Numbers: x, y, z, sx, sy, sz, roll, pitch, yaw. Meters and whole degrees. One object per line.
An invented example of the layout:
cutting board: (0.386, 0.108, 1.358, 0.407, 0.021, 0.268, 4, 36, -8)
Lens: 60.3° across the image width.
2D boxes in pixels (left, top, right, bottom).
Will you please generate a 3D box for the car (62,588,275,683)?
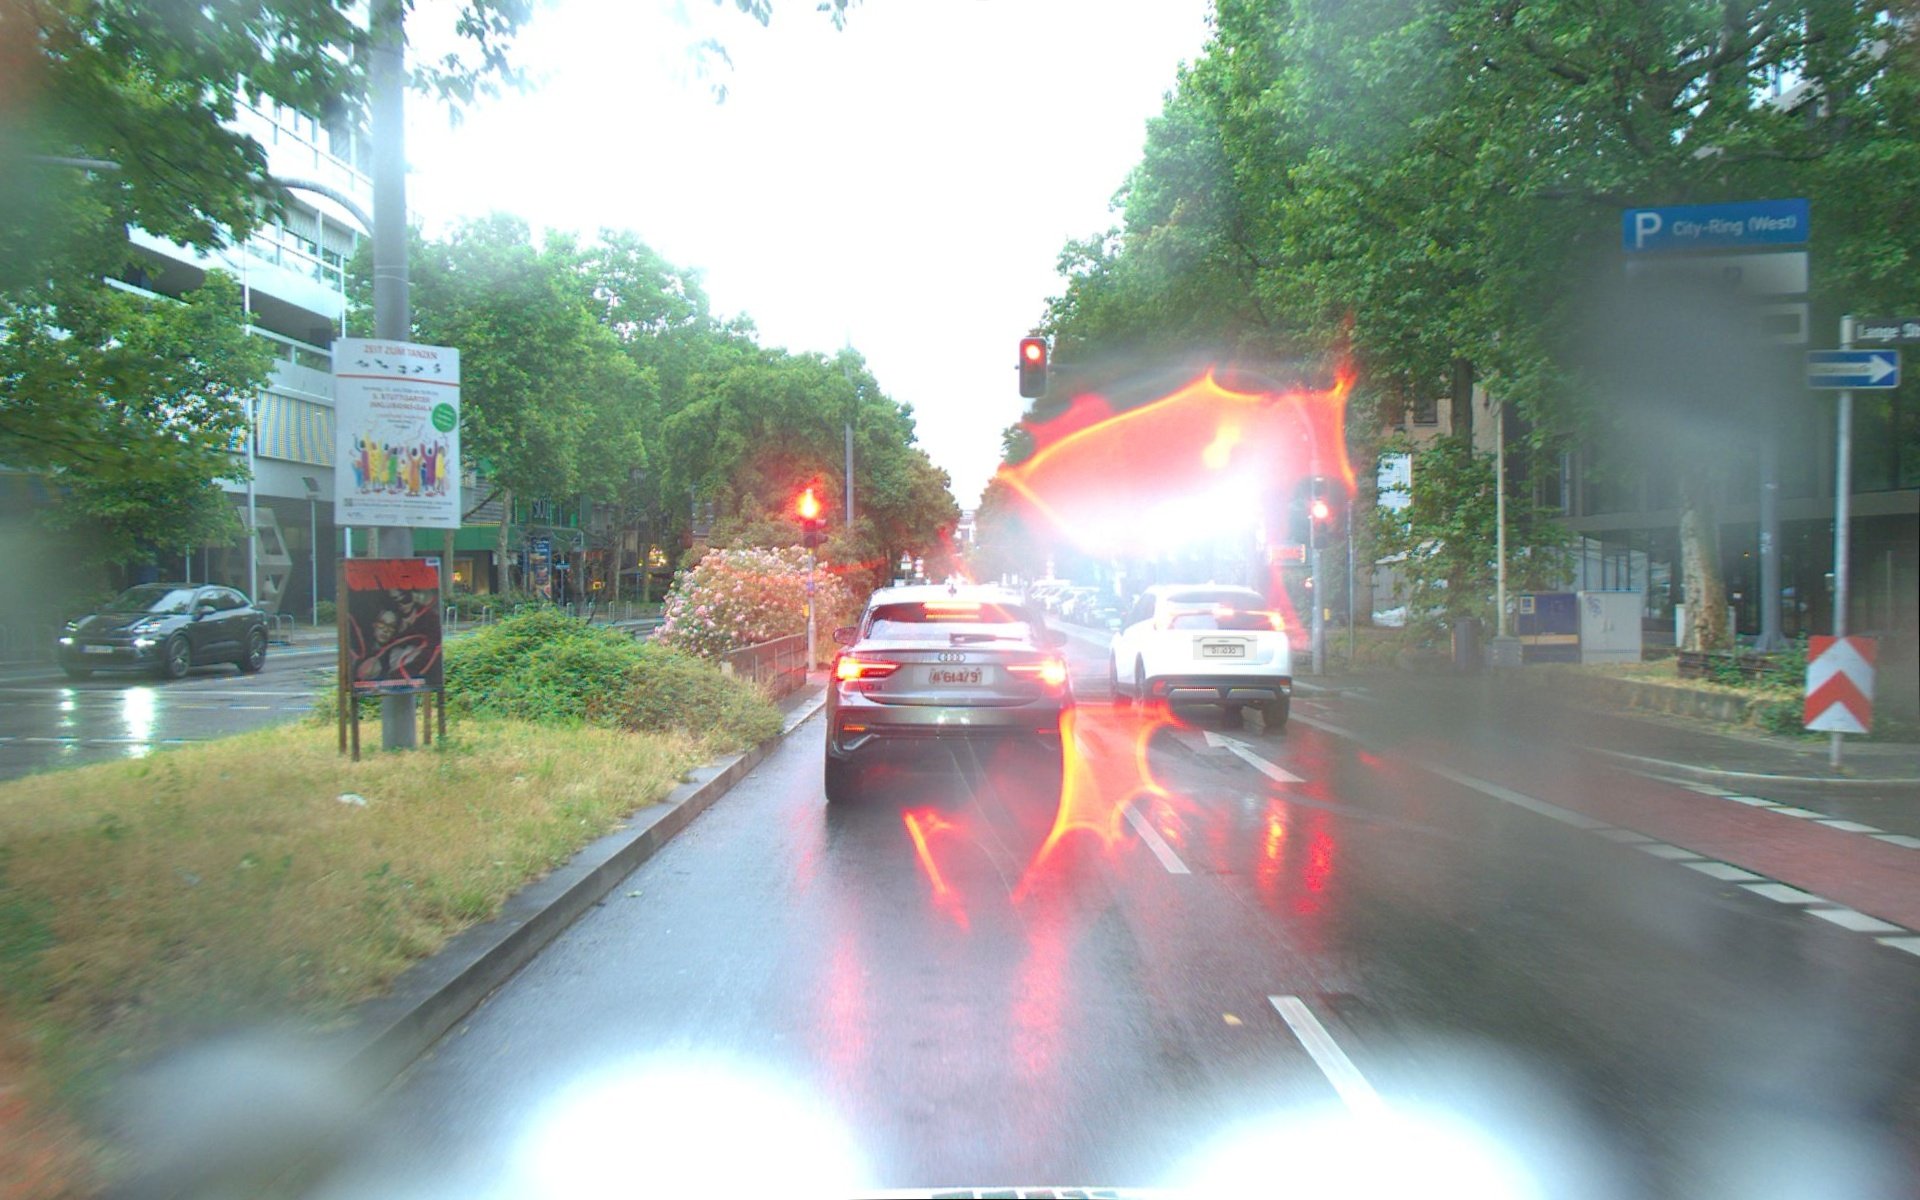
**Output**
car: (-14.202, 0.579, 29.947, 1.792, 1.579, 4.189, 0, 0, 1)

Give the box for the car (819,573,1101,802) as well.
car: (-0.014, 0.552, 13.055, 1.879, 1.517, 4.000, 0, 1, -1)

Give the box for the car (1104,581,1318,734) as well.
car: (3.050, 0.619, 21.140, 1.953, 1.684, 4.888, 0, 1, -1)

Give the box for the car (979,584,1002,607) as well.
car: (2.299, -0.340, 124.197, 1.587, 1.695, 4.000, -1, 1, 0)
